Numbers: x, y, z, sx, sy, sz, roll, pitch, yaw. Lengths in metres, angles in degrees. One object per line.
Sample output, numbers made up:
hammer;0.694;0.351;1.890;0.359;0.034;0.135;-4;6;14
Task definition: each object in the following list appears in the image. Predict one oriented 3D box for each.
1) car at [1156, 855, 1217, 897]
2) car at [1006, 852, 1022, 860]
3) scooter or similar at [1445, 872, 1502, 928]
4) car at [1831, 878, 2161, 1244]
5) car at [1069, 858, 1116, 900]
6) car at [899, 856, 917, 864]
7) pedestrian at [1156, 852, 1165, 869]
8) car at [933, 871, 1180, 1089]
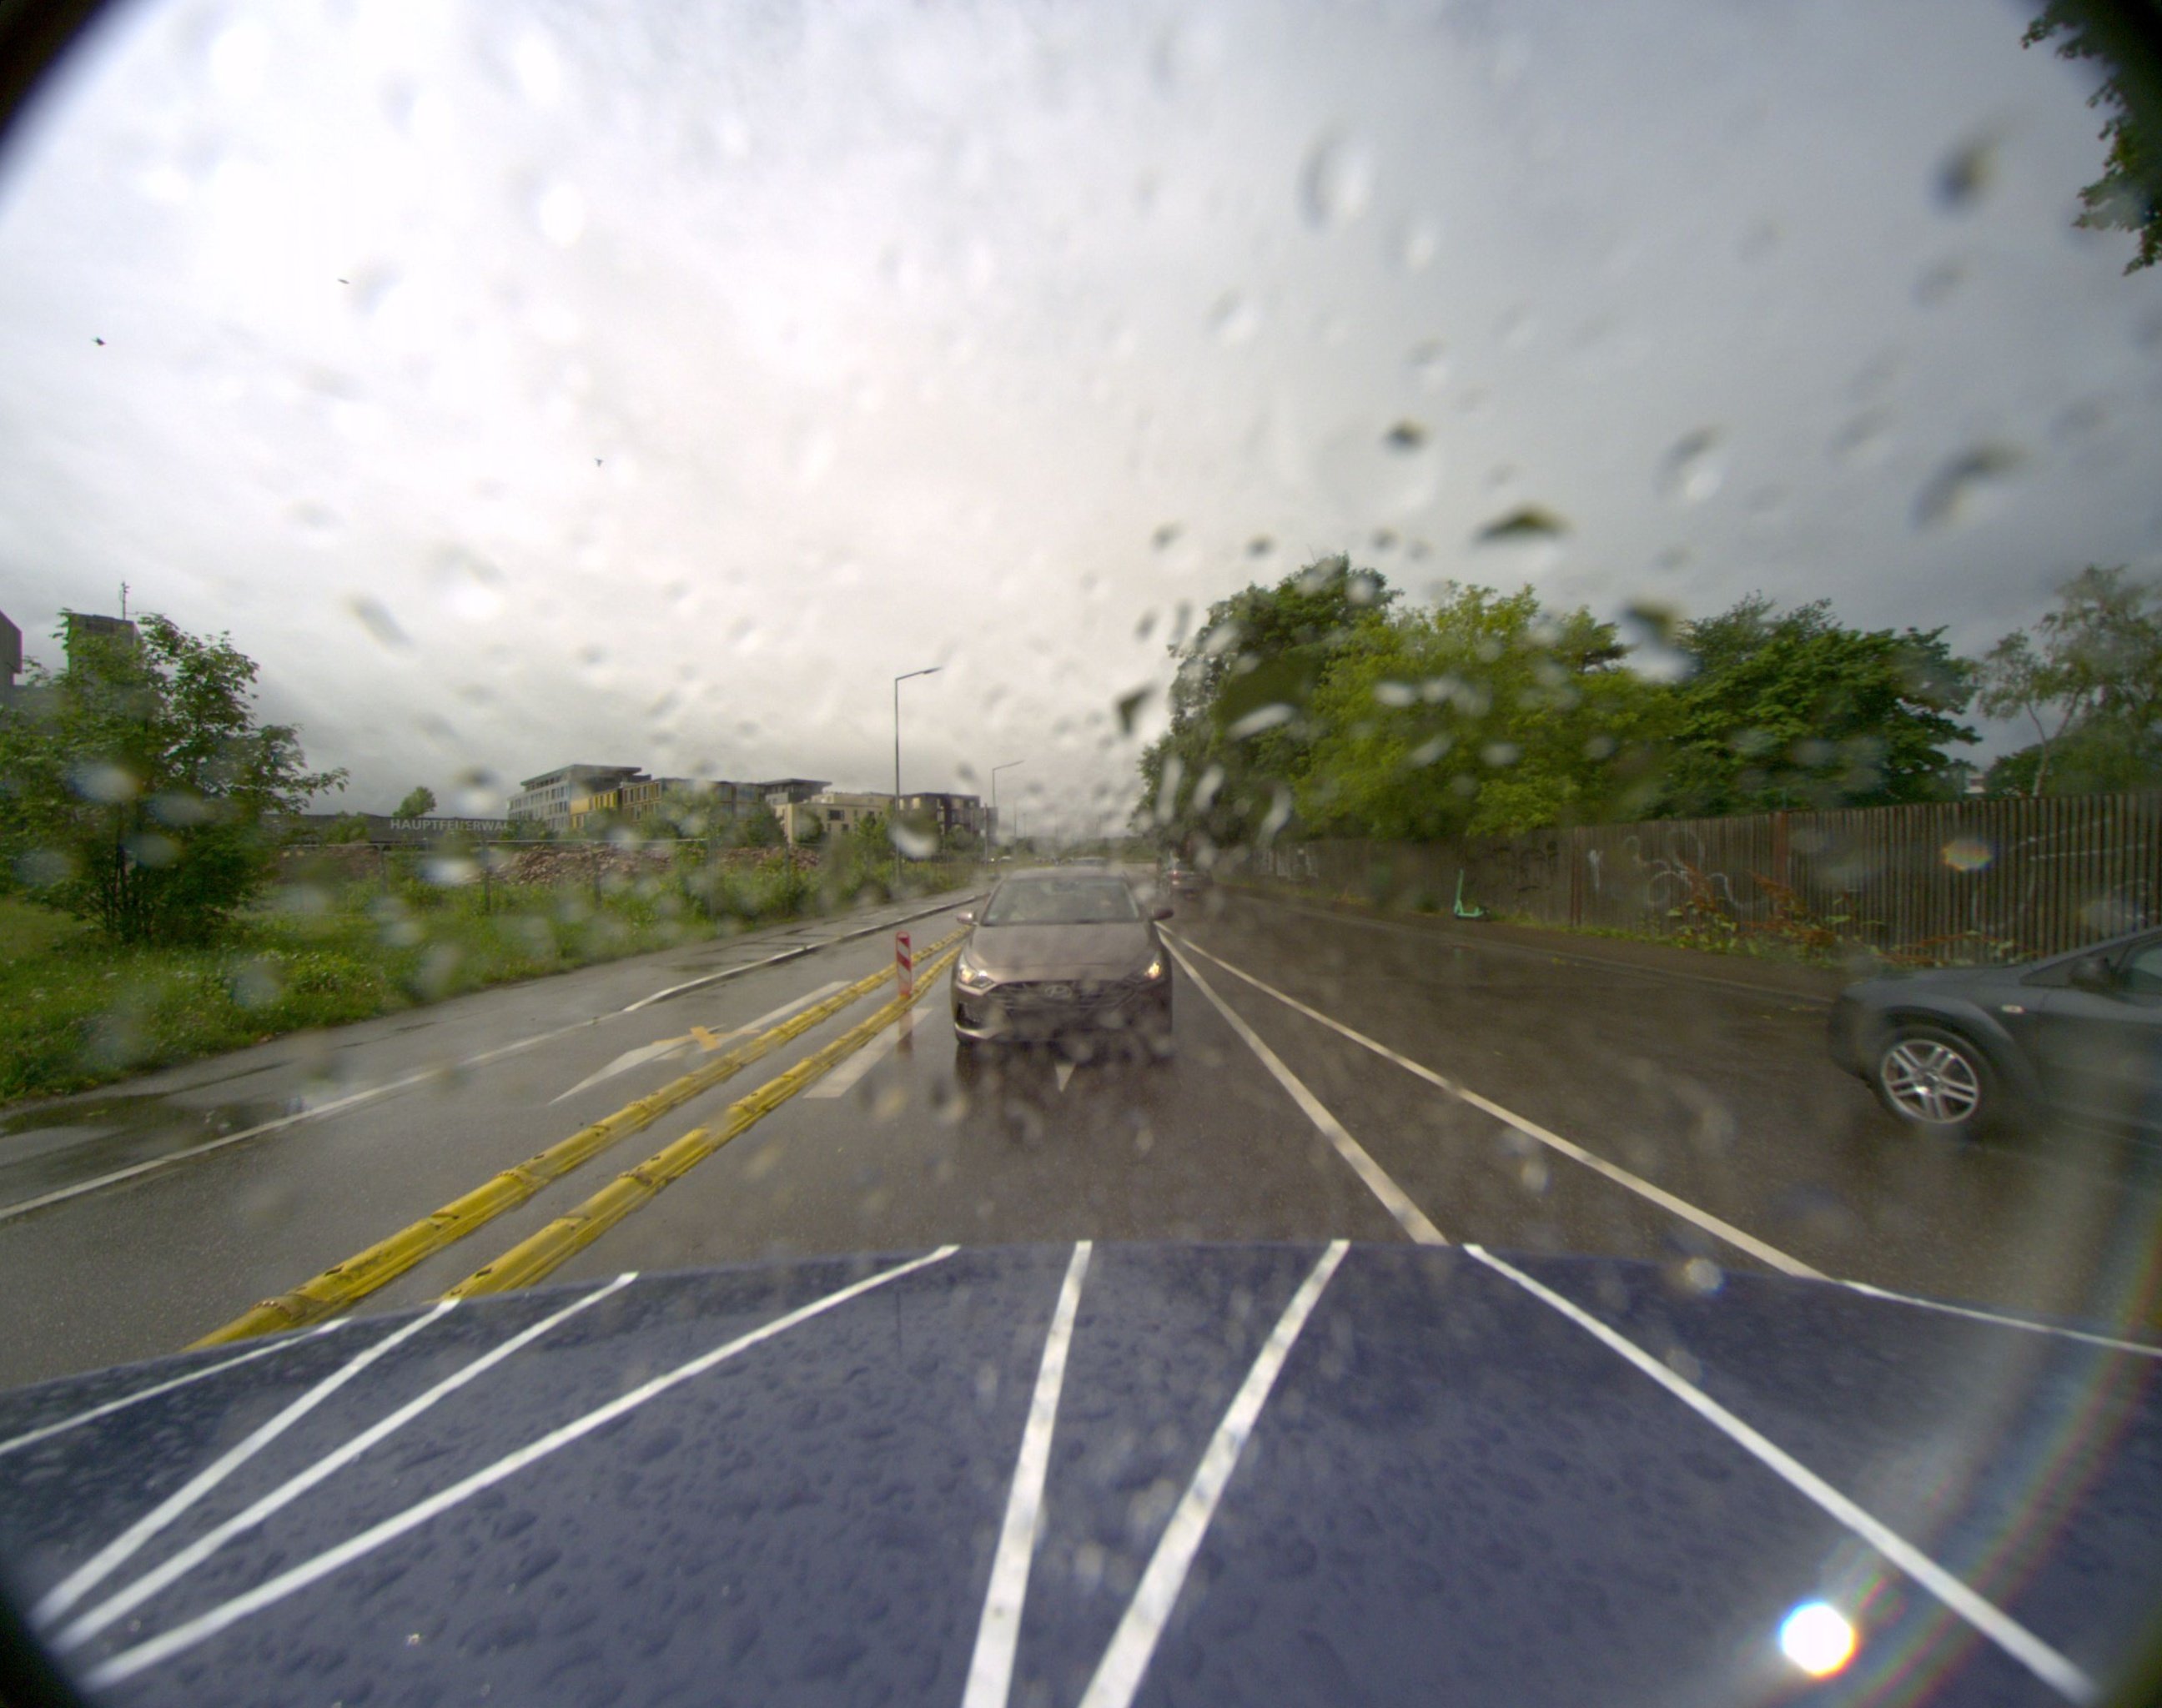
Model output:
car;4.276;0.864;31.384;1.785;1.543;4.425;2;0;-1
car;-18.075;0.590;205.243;4.008;2.002;1.994;-1;0;-43
scooter or similar;8.768;1.007;17.013;0.564;1.156;1.207;-1;0;-6
car;5.558;0.912;2.495;1.880;1.474;4.175;0;1;-5
car;0.446;0.964;30.537;1.734;1.539;3.770;-1;0;0
car;-34.759;1.126;152.731;1.644;1.573;3.674;-1;0;24
pedestrian;8.215;0.659;78.495;0.841;1.759;0.644;0;1;1
car;-0.208;0.934;7.287;1.724;1.423;3.818;-1;0;-1
